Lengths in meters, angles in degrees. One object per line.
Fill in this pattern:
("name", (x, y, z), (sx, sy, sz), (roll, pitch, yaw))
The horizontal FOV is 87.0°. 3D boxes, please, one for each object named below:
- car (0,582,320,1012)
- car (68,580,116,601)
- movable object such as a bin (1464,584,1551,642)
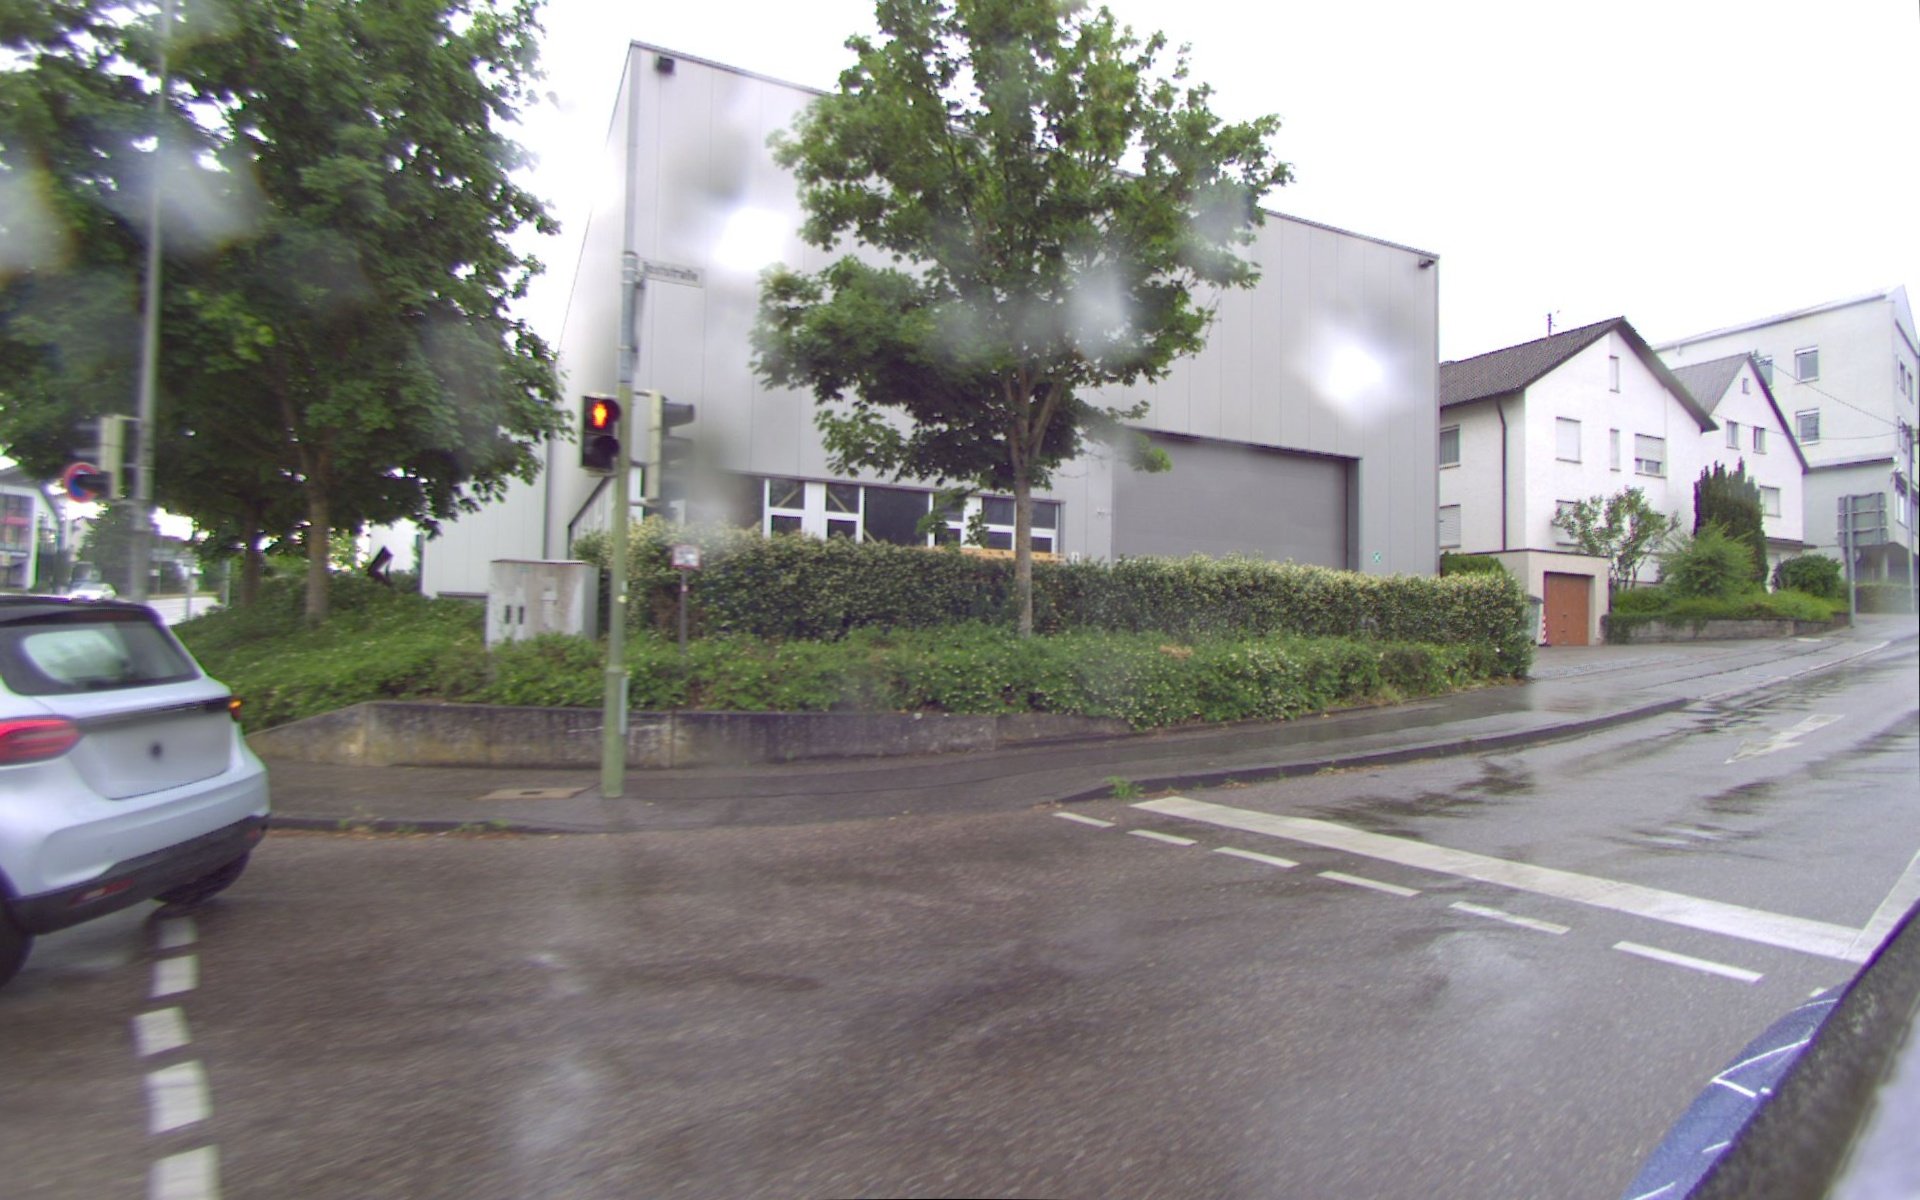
("car", (-5.249, 0.707, 4.386), (3.828, 1.574, 1.696), (0, 0, -6))
("car", (-64.956, -0.687, 75.767), (1.861, 1.564, 4.026), (-1, 0, -28))
("movable object such as a bin", (15.058, 0.343, 27.863), (1.556, 1.555, 1.451), (1, 0, -25))
